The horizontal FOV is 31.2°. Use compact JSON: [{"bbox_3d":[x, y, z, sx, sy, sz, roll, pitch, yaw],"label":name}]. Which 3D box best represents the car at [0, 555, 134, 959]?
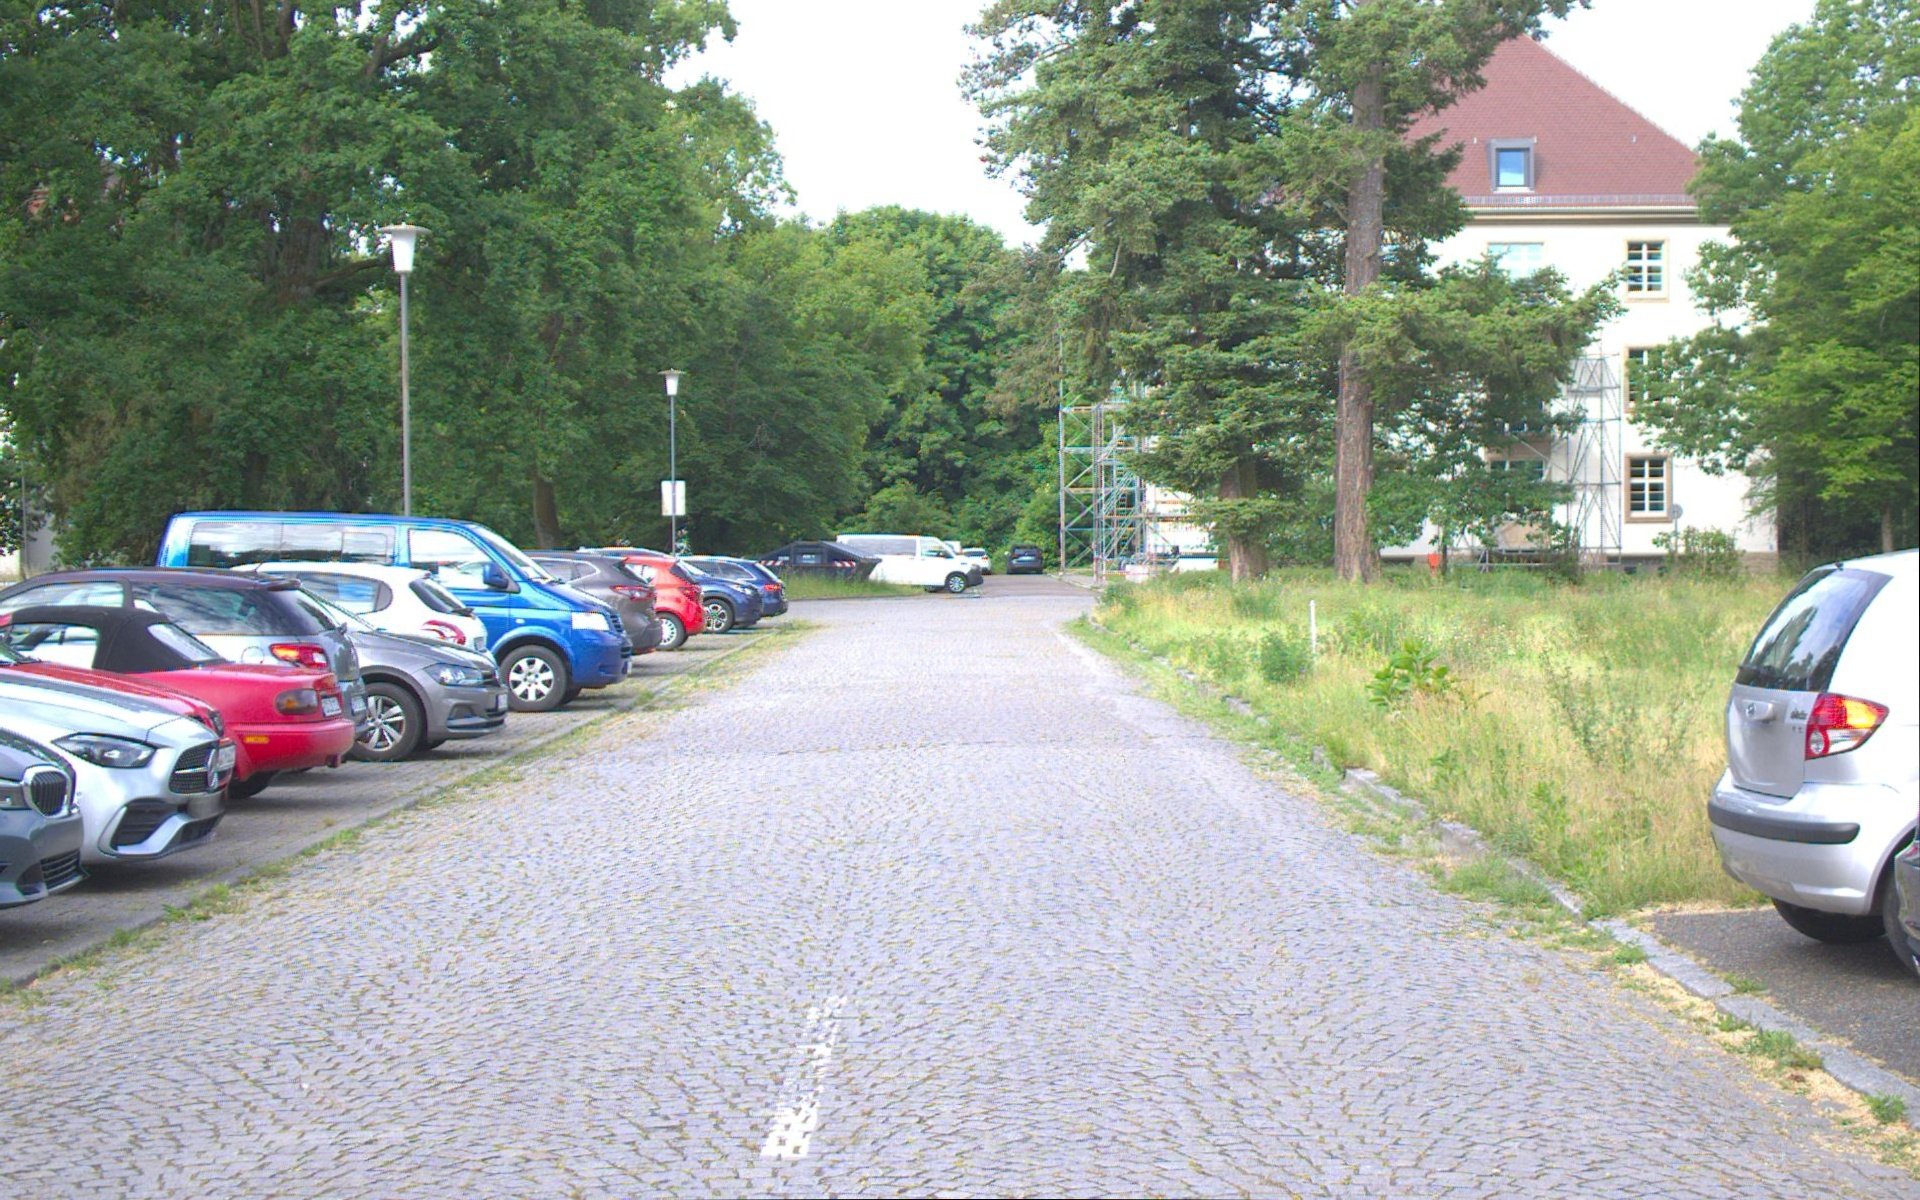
[{"bbox_3d":[-5.790,0.592,13.888,4.500,1.532,1.871,0,0,-3],"label":"car"}]

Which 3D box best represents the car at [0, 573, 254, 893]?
[{"bbox_3d":[-5.828,0.596,16.574,4.437,1.450,1.949,0,0,1],"label":"car"}]

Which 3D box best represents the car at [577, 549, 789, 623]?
[{"bbox_3d":[-5.547,-0.294,69.124,4.072,1.462,1.625,0,1,4],"label":"car"}]

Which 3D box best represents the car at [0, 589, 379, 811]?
[{"bbox_3d":[-5.813,0.592,21.267,4.131,1.279,1.764,0,1,0],"label":"car"}]

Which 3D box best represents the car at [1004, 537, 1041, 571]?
[{"bbox_3d":[3.320,-2.476,184.391,1.790,1.714,4.061,-1,-1,-1],"label":"car"}]

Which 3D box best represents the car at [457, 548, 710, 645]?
[{"bbox_3d":[-5.900,-0.070,54.180,3.815,1.484,1.788,0,1,-1],"label":"car"}]

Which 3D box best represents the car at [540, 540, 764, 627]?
[{"bbox_3d":[-5.745,-0.319,64.427,4.071,1.598,1.788,0,1,-1],"label":"car"}]

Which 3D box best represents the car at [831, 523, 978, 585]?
[{"bbox_3d":[-1.897,-1.578,118.063,4.978,2.065,2.052,0,-1,-1],"label":"car"}]

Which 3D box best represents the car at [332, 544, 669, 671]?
[{"bbox_3d":[-5.811,0.082,43.864,4.067,1.570,1.954,0,1,-1],"label":"car"}]

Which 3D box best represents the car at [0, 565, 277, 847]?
[{"bbox_3d":[-6.067,0.546,18.884,4.254,1.450,1.855,0,1,0],"label":"car"}]

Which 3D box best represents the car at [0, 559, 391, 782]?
[{"bbox_3d":[-6.166,0.462,23.949,4.088,1.475,1.755,0,1,1],"label":"car"}]

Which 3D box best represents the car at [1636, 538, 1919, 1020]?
[{"bbox_3d":[4.485,0.486,12.061,3.771,1.474,1.743,-3,2,-2],"label":"car"}]

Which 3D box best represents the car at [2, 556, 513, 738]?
[{"bbox_3d":[-6.004,0.382,29.696,4.005,1.496,1.843,0,1,2],"label":"car"}]

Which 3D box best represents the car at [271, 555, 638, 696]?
[{"bbox_3d":[-5.477,0.258,37.583,3.793,1.488,1.726,0,1,-2],"label":"car"}]

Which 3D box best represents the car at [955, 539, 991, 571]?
[{"bbox_3d":[0.696,-2.404,184.089,1.790,1.630,4.061,-1,-1,-1],"label":"car"}]

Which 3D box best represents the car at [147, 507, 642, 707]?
[{"bbox_3d":[-5.678,0.047,34.990,4.709,1.974,2.038,0,1,0],"label":"car"}]

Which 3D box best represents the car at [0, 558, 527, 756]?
[{"bbox_3d":[-5.657,0.422,26.828,4.304,1.475,1.731,0,1,2],"label":"car"}]

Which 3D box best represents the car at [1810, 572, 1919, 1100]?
[{"bbox_3d":[4.757,0.541,9.358,4.366,1.401,1.797,-3,2,-1],"label":"car"}]
